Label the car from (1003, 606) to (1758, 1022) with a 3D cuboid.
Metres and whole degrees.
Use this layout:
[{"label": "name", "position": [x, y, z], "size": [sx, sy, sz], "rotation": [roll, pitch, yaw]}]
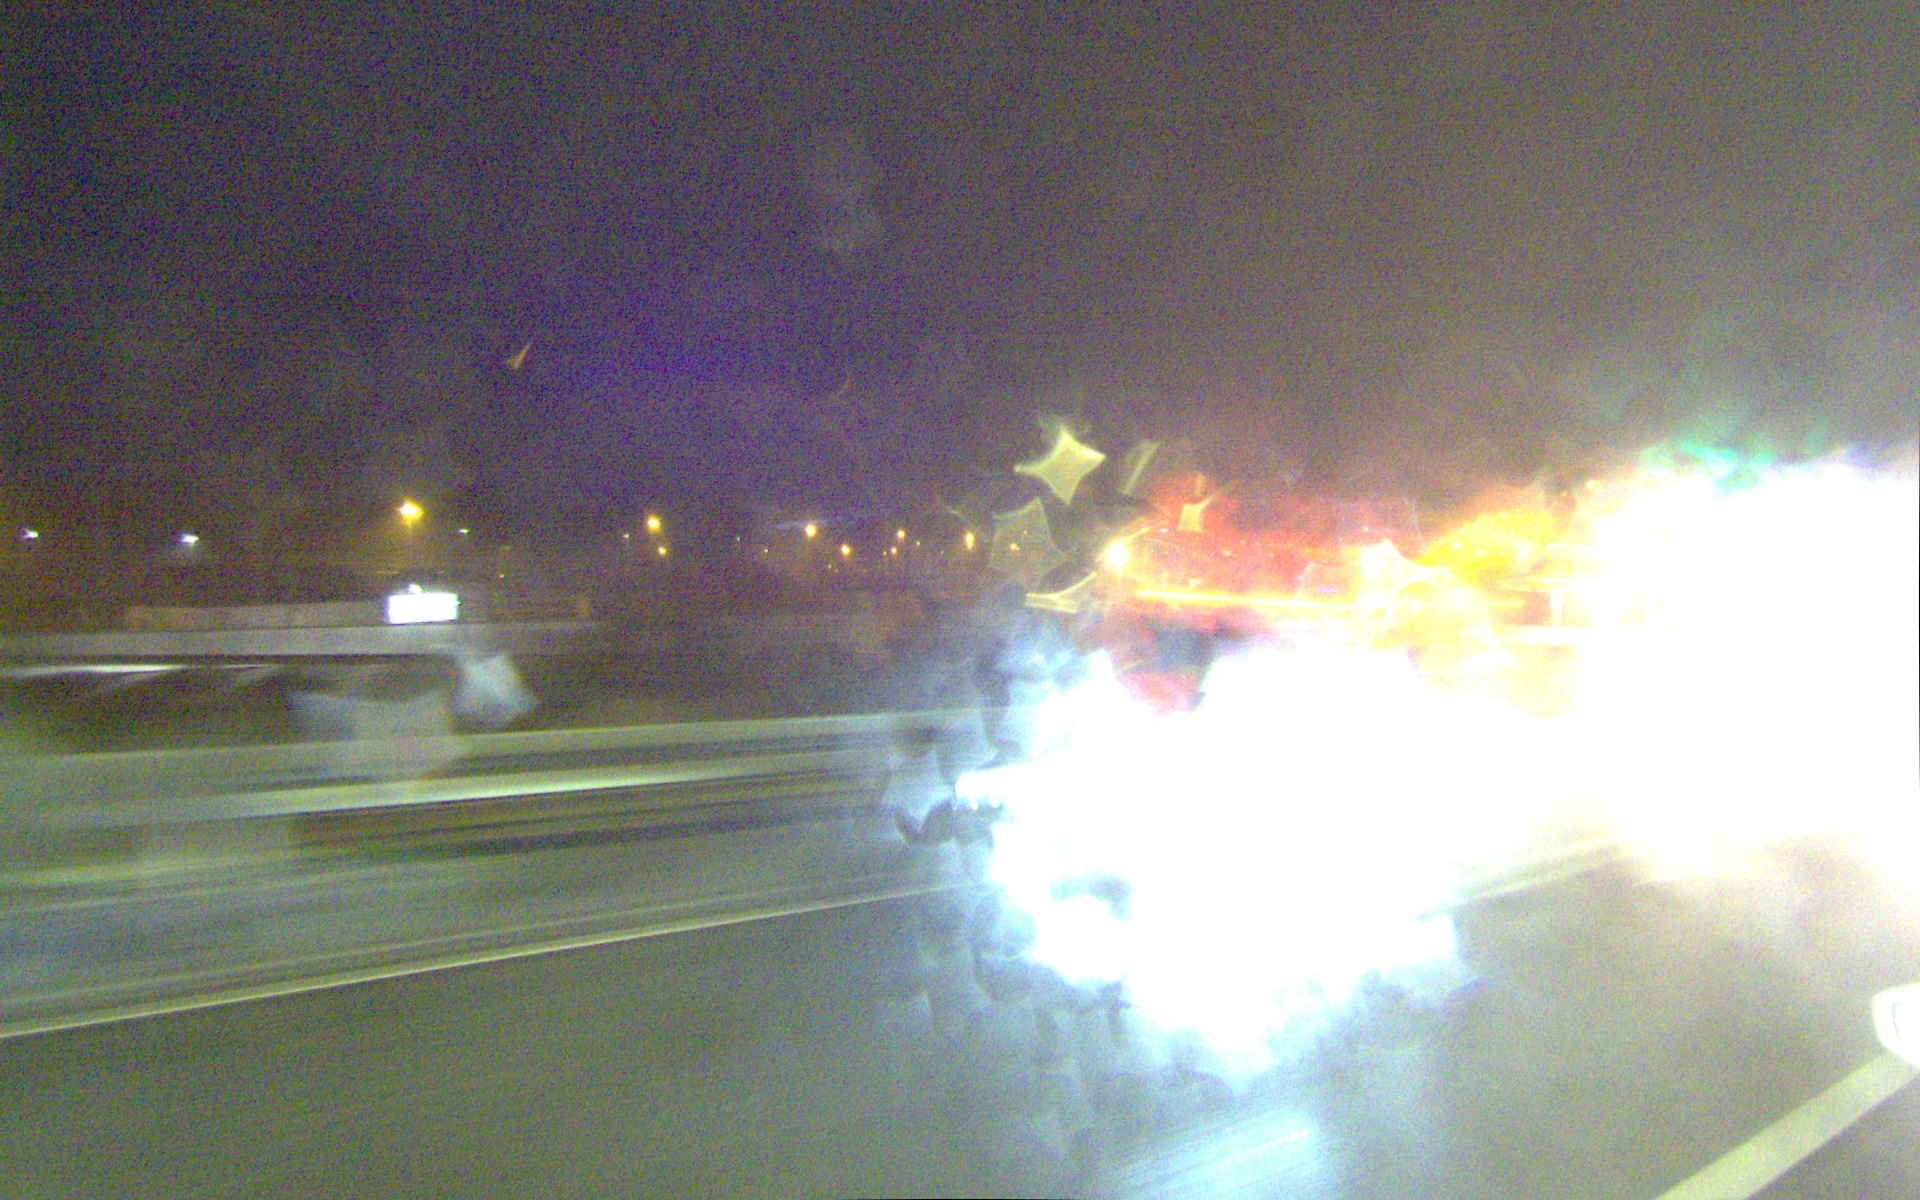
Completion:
[{"label": "car", "position": [2.483, 0.807, 5.523], "size": [4.282, 1.450, 1.749], "rotation": [1, 1, -34]}]
